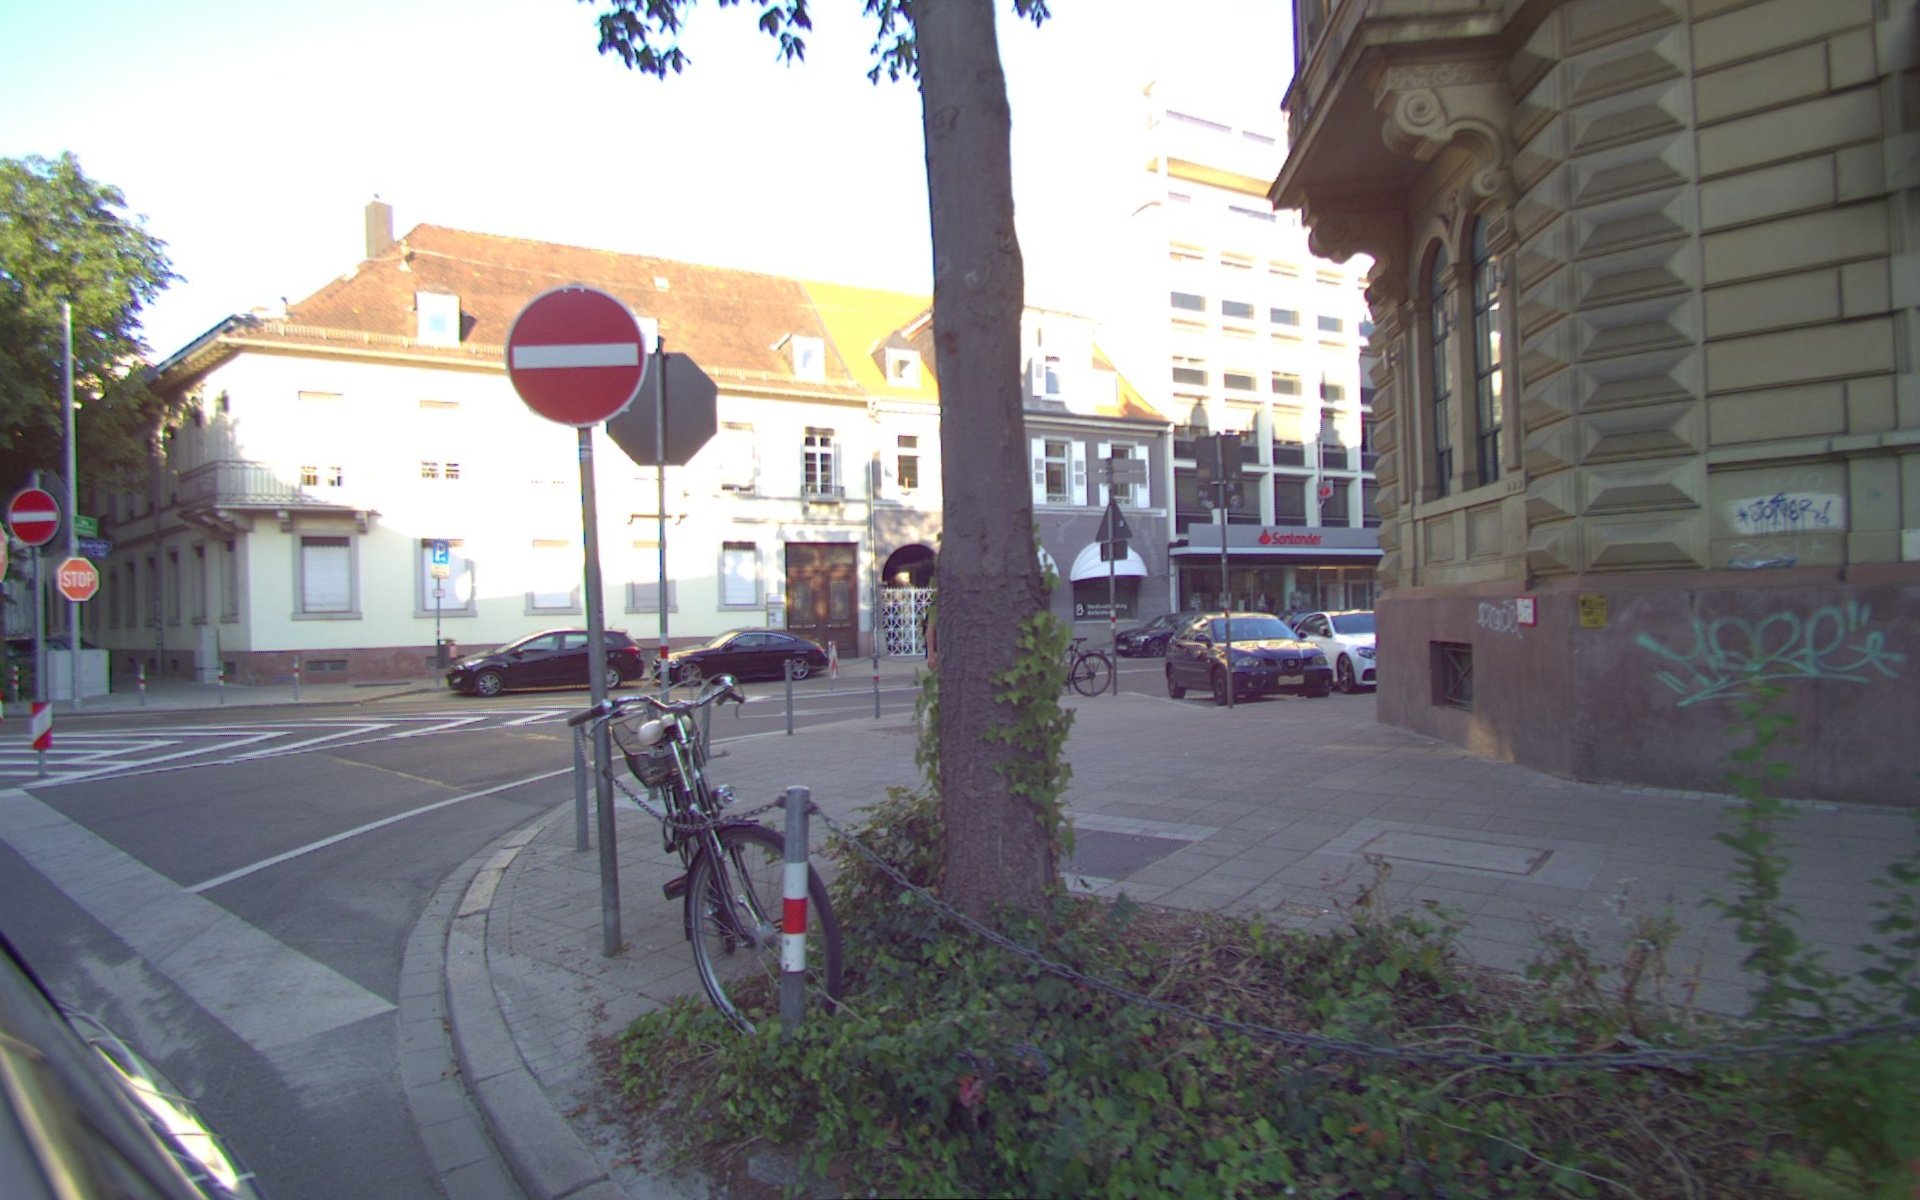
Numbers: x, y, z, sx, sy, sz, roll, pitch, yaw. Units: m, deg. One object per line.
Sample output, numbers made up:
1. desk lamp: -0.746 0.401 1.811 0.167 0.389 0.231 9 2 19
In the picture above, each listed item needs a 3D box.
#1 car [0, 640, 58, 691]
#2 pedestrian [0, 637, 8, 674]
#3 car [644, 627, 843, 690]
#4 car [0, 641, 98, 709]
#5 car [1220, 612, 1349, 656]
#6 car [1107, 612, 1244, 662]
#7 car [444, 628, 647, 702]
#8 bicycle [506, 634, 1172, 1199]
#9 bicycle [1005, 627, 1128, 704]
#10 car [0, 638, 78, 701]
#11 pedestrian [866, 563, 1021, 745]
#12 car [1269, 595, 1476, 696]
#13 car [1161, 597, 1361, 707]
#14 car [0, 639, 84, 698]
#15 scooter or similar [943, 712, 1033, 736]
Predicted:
1. car: -32.355 2.202 33.156 1.721 1.627 3.949 -2 -1 38
2. pedestrian: -46.394 2.671 48.588 1.020 1.784 0.883 -3 -2 39
3. car: -5.640 1.485 26.433 4.773 1.405 1.784 -1 -2 -26
4. car: -24.584 1.927 25.611 1.826 1.627 3.949 -2 -2 38
5. car: 11.538 1.183 35.909 4.424 1.398 1.753 -1 -1 -28
6. car: 7.028 1.183 33.001 4.176 1.458 1.753 -1 -1 -27
7. car: -9.953 1.510 24.326 4.354 1.553 1.813 -1 -2 -27
8. bicycle: -0.634 0.757 2.991 0.832 1.277 2.579 0 -2 -35
9. bicycle: 1.712 1.047 16.376 1.772 1.134 0.730 -1 -4 -19
10. car: -26.608 1.915 27.348 1.721 1.627 3.949 -2 -1 38
11. pedestrian: -0.163 0.559 10.419 1.261 1.752 0.843 -4 -2 28
12. car: 7.169 0.830 18.169 1.744 1.523 4.627 -2 -3 0
13. car: 4.554 0.860 15.952 1.715 1.472 3.865 -2 -4 -4
14. car: -27.968 1.998 29.106 1.721 1.627 3.949 -2 -1 38
15. scooter or similar: 0.300 1.327 10.845 0.878 0.208 0.414 -4 -2 28
